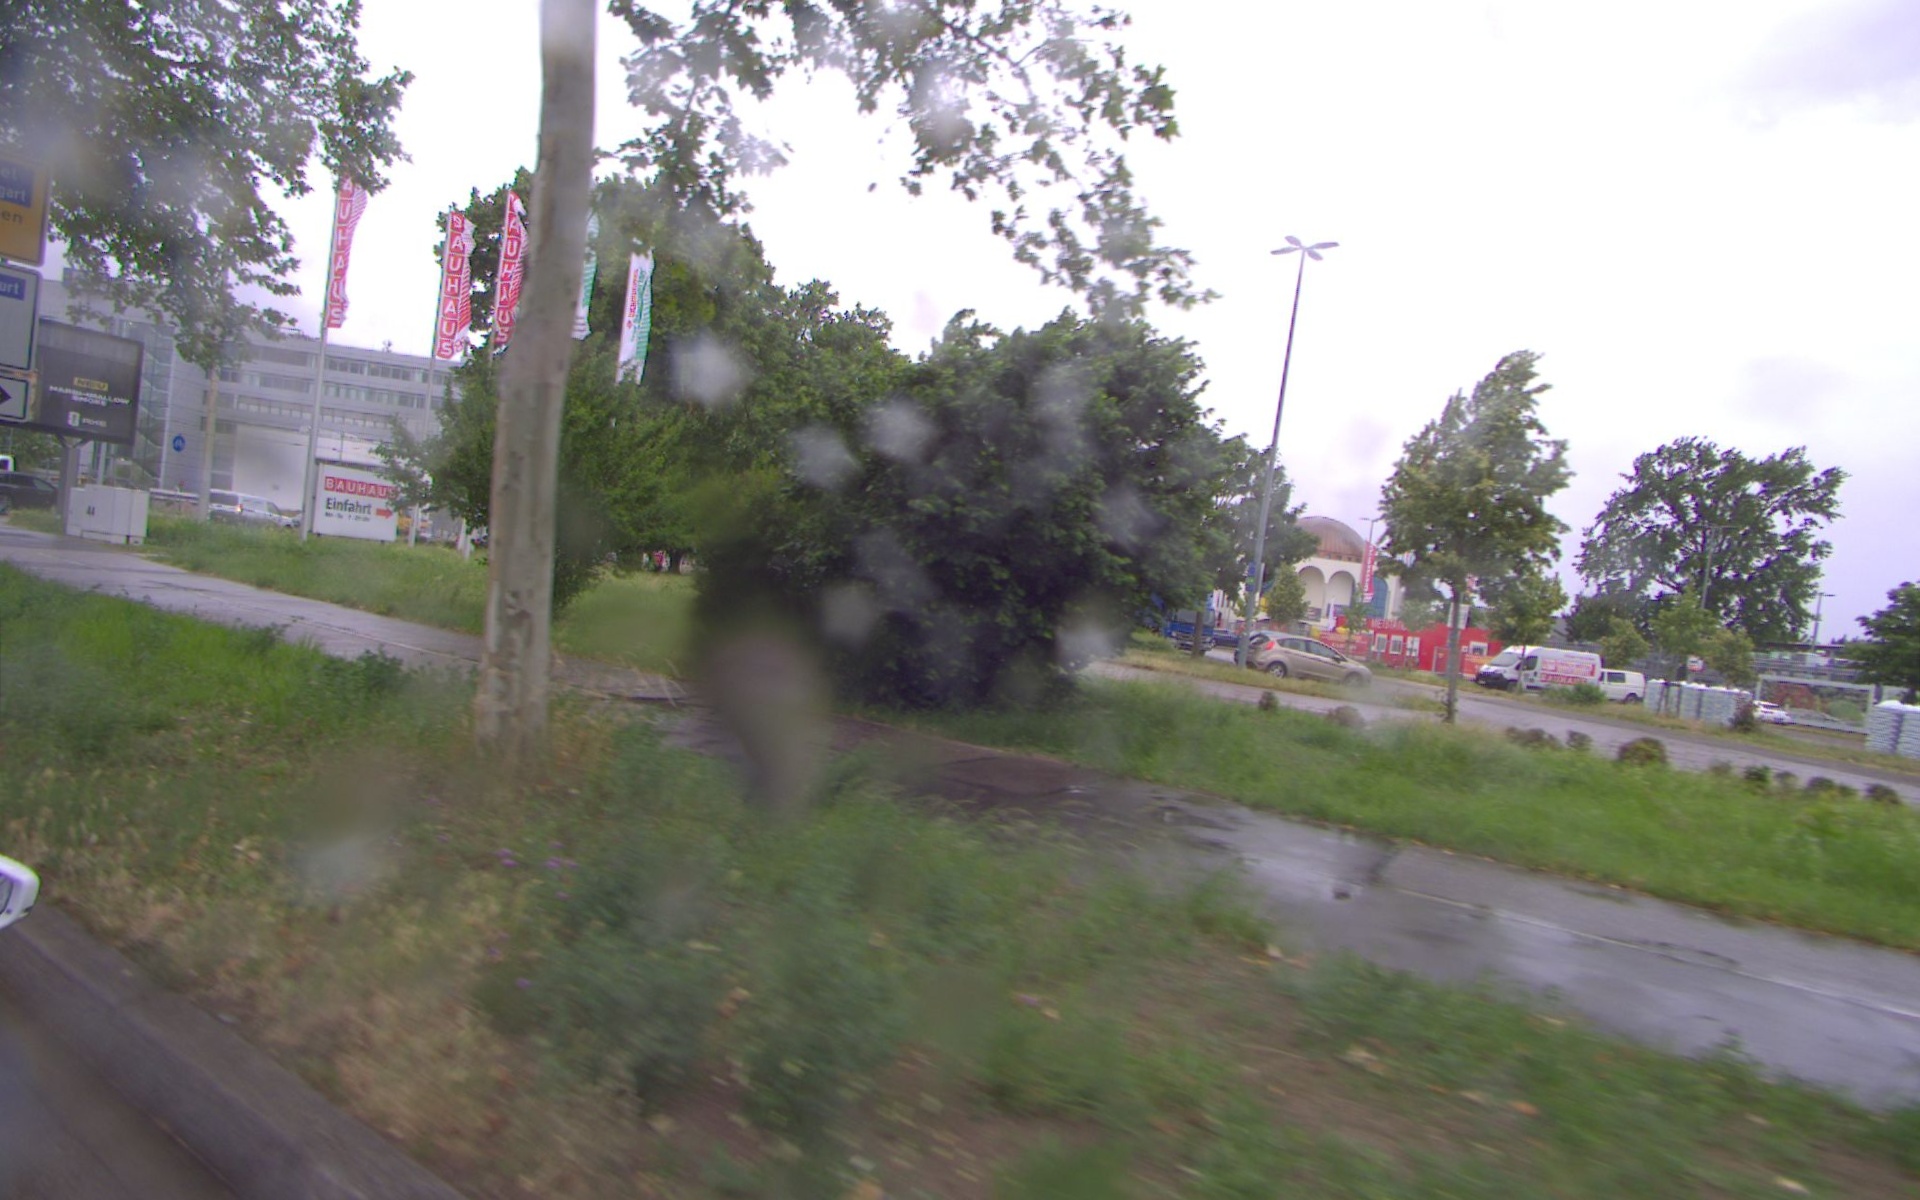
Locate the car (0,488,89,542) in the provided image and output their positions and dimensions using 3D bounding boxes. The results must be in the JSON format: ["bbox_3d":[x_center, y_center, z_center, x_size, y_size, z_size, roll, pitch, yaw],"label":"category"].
[{"bbox_3d":[-32.404,-3.008,34.036,1.768,1.555,4.389,7,-1,3],"label":"car"}]

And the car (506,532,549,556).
[{"bbox_3d":[-35.517,-4.562,82.665,1.770,1.556,4.383,7,0,-4],"label":"car"}]

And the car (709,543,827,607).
[{"bbox_3d":[-8.438,-1.085,44.500,4.833,2.180,1.803,7,0,-9],"label":"car"}]

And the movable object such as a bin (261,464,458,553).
[{"bbox_3d":[-61.575,-9.266,103.934,14.696,6.356,8.270,7,-1,-2],"label":"movable object such as a bin"}]

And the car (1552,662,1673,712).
[{"bbox_3d":[38.537,5.104,59.507,5.563,2.168,2.002,7,-1,5],"label":"car"}]

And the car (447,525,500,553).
[{"bbox_3d":[-34.888,-4.331,72.215,1.769,1.556,4.384,7,0,-4],"label":"car"}]

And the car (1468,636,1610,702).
[{"bbox_3d":[27.518,3.259,47.900,5.572,2.362,1.999,7,-1,-6],"label":"car"}]

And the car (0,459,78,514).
[{"bbox_3d":[-42.987,-5.225,45.834,1.769,2.220,4.380,7,2,-3],"label":"car"}]

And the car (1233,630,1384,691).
[{"bbox_3d":[10.948,1.885,31.772,3.928,1.380,2.000,7,-1,-3],"label":"car"}]

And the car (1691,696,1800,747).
[{"bbox_3d":[45.573,7.001,58.521,2.044,2.229,5.155,5,-1,-1],"label":"car"}]

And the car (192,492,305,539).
[{"bbox_3d":[-32.338,-3.789,45.882,1.768,1.556,4.387,7,0,3],"label":"car"}]

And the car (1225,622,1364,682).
[{"bbox_3d":[11.354,1.758,34.363,3.928,1.514,2.000,7,-1,-3],"label":"car"}]

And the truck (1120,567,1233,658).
[{"bbox_3d":[10.611,0.602,50.405,2.950,3.857,8.283,7,0,-4],"label":"truck"}]
